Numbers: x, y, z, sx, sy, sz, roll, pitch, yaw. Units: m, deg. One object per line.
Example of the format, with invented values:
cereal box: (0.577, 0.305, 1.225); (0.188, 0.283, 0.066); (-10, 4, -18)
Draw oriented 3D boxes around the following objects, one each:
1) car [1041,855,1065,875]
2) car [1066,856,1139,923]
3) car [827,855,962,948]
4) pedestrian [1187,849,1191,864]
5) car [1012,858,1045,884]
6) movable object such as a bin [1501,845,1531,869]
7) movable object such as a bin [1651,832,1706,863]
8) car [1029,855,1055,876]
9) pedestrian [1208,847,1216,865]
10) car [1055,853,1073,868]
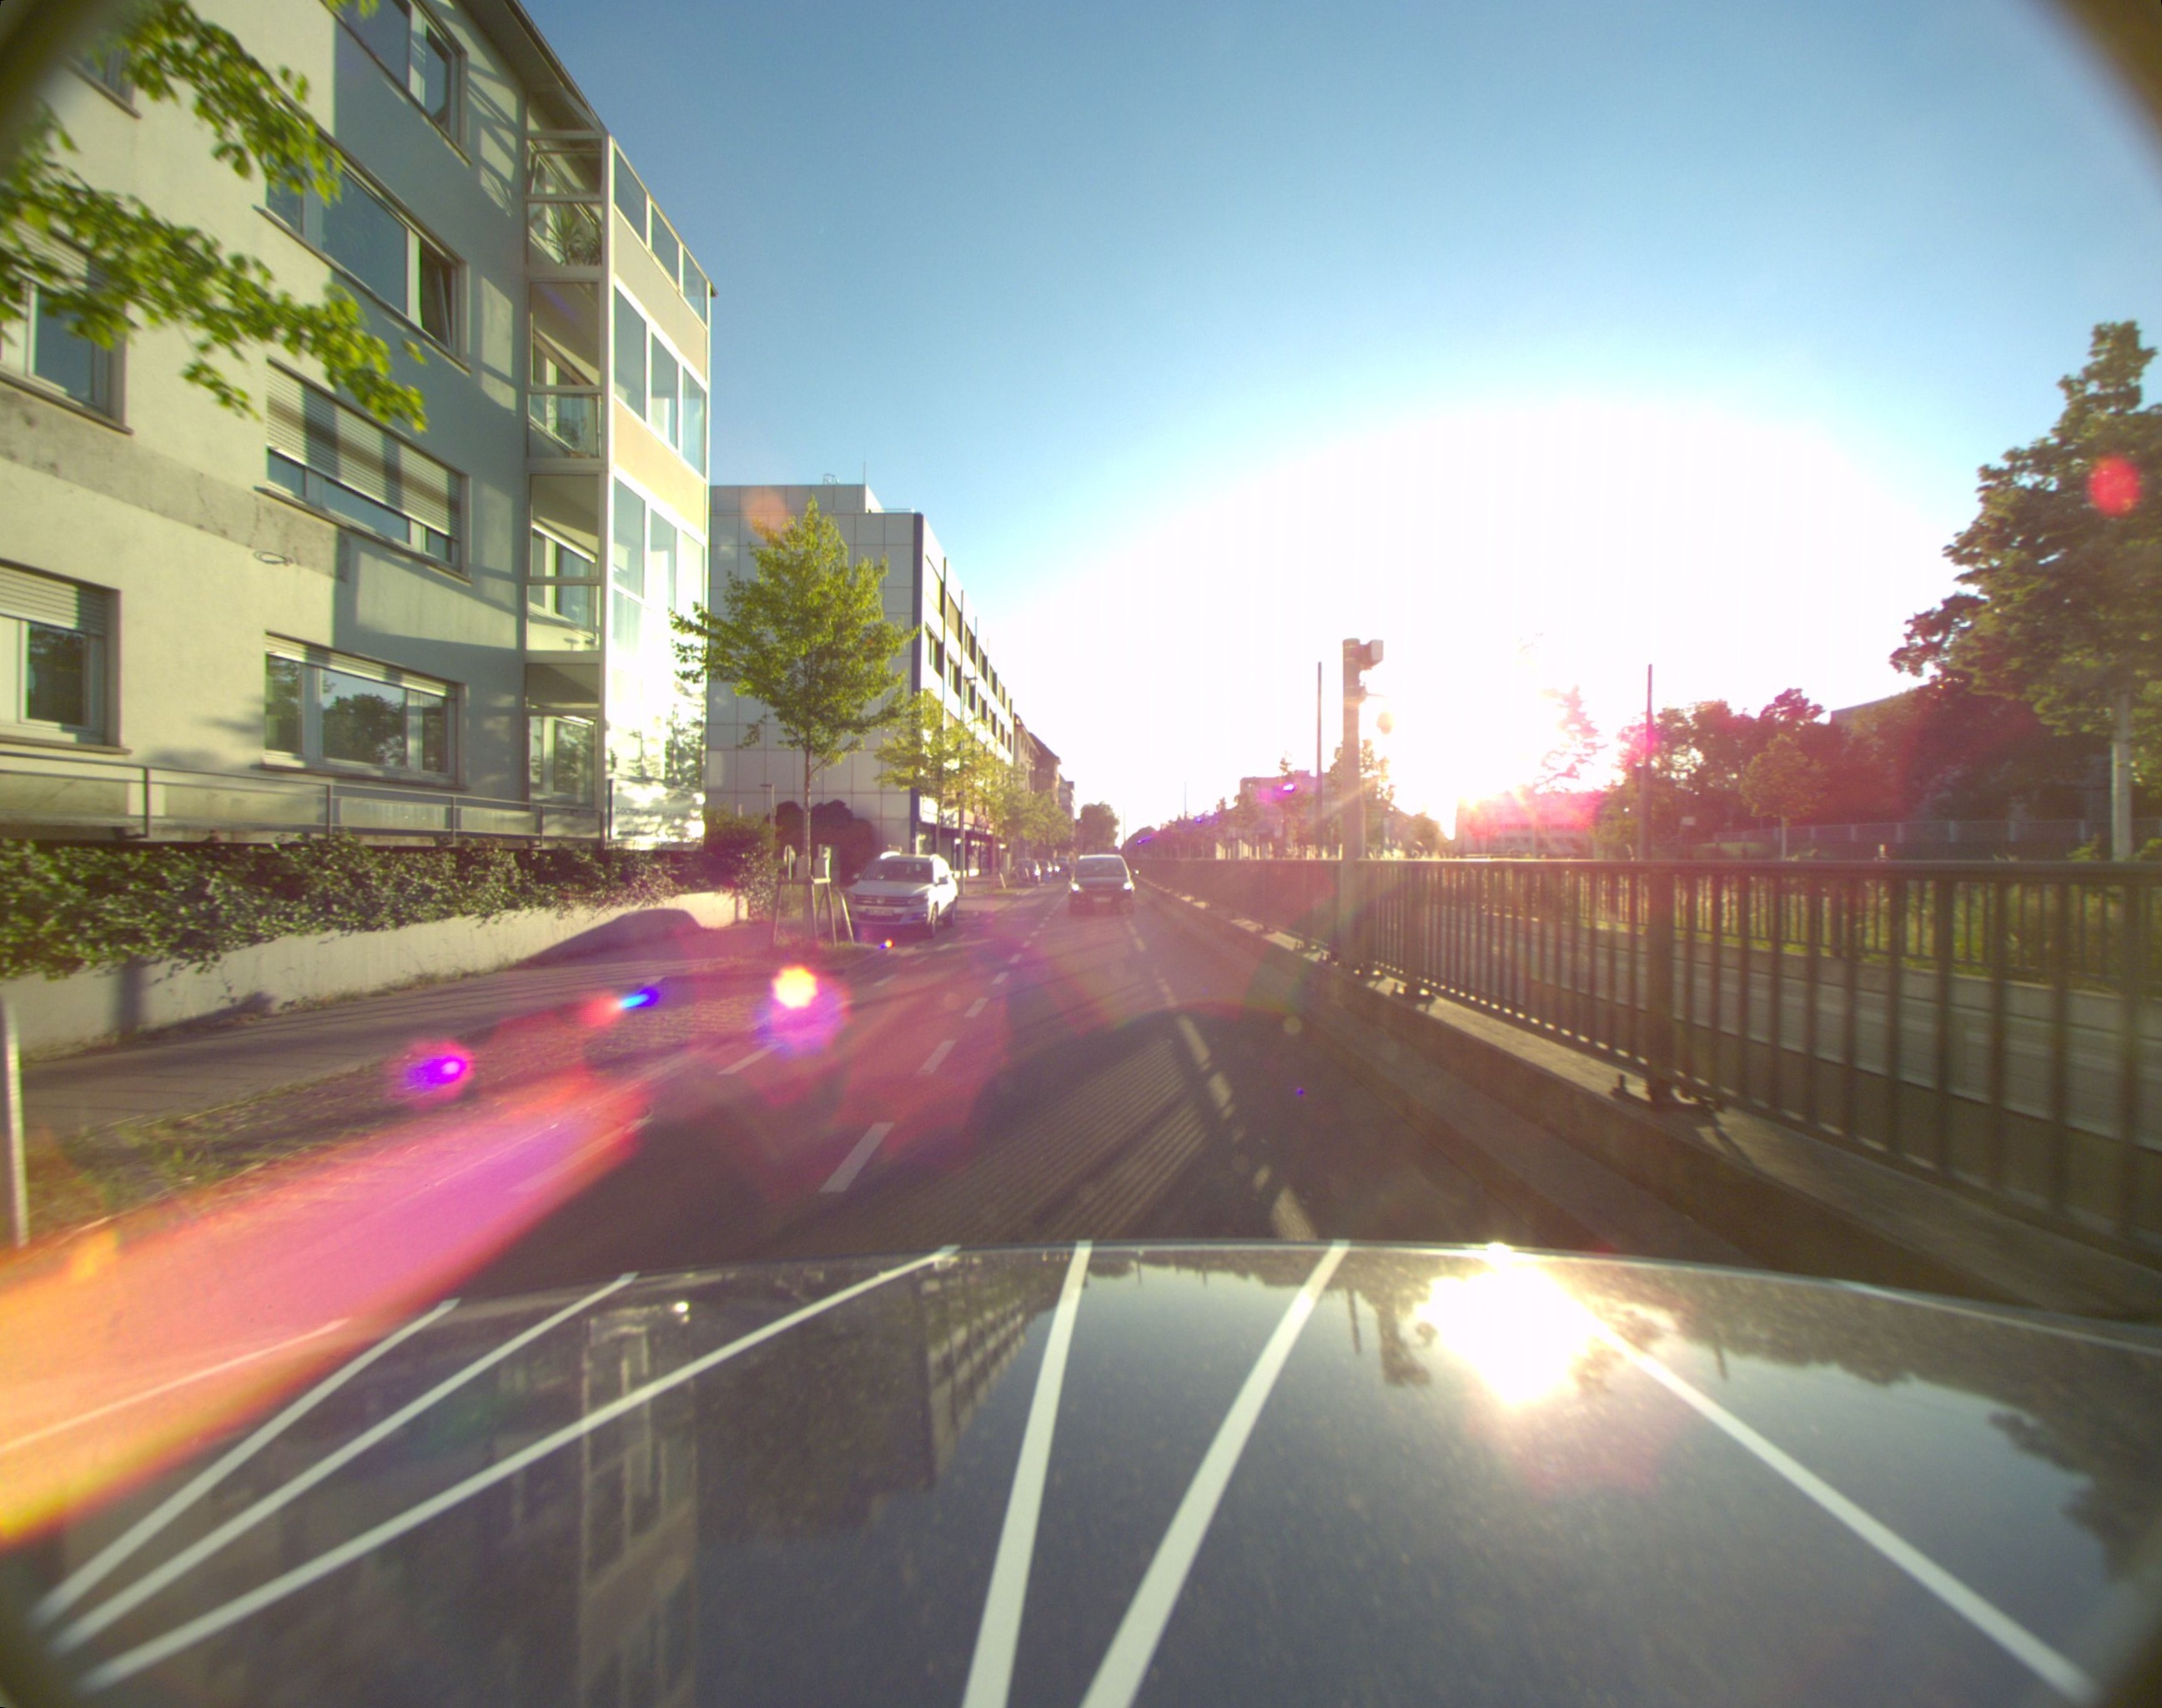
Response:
car: (-2.424, 0.916, 66.211); (1.824, 1.557, 4.809); (4, 0, -1)
car: (0.557, 0.907, 21.356); (1.800, 1.609, 4.386); (-1, 0, 0)
car: (-3.824, 0.899, 16.360); (1.859, 1.696, 4.253); (2, 0, -1)
pedestrian: (12.807, 0.298, 90.060); (0.472, 1.776, 0.626); (0, 1, 8)
car: (-3.112, 0.995, 45.544); (1.824, 1.446, 4.127); (1, 0, -3)
movable object such as a bin: (50.111, 0.336, 87.684); (1.996, 2.690, 4.004); (0, 0, 14)
movable object such as a bin: (54.231, -0.588, 69.090); (1.998, 2.690, 4.001); (0, 0, 3)
car: (-2.843, 0.833, 55.928); (1.687, 1.446, 4.129); (1, 0, 0)
pedestrian: (12.827, 0.167, 74.451); (0.636, 1.719, 0.635); (0, 1, -11)
car: (-1.945, 0.753, 87.945); (1.761, 1.644, 4.529); (3, 0, 1)
